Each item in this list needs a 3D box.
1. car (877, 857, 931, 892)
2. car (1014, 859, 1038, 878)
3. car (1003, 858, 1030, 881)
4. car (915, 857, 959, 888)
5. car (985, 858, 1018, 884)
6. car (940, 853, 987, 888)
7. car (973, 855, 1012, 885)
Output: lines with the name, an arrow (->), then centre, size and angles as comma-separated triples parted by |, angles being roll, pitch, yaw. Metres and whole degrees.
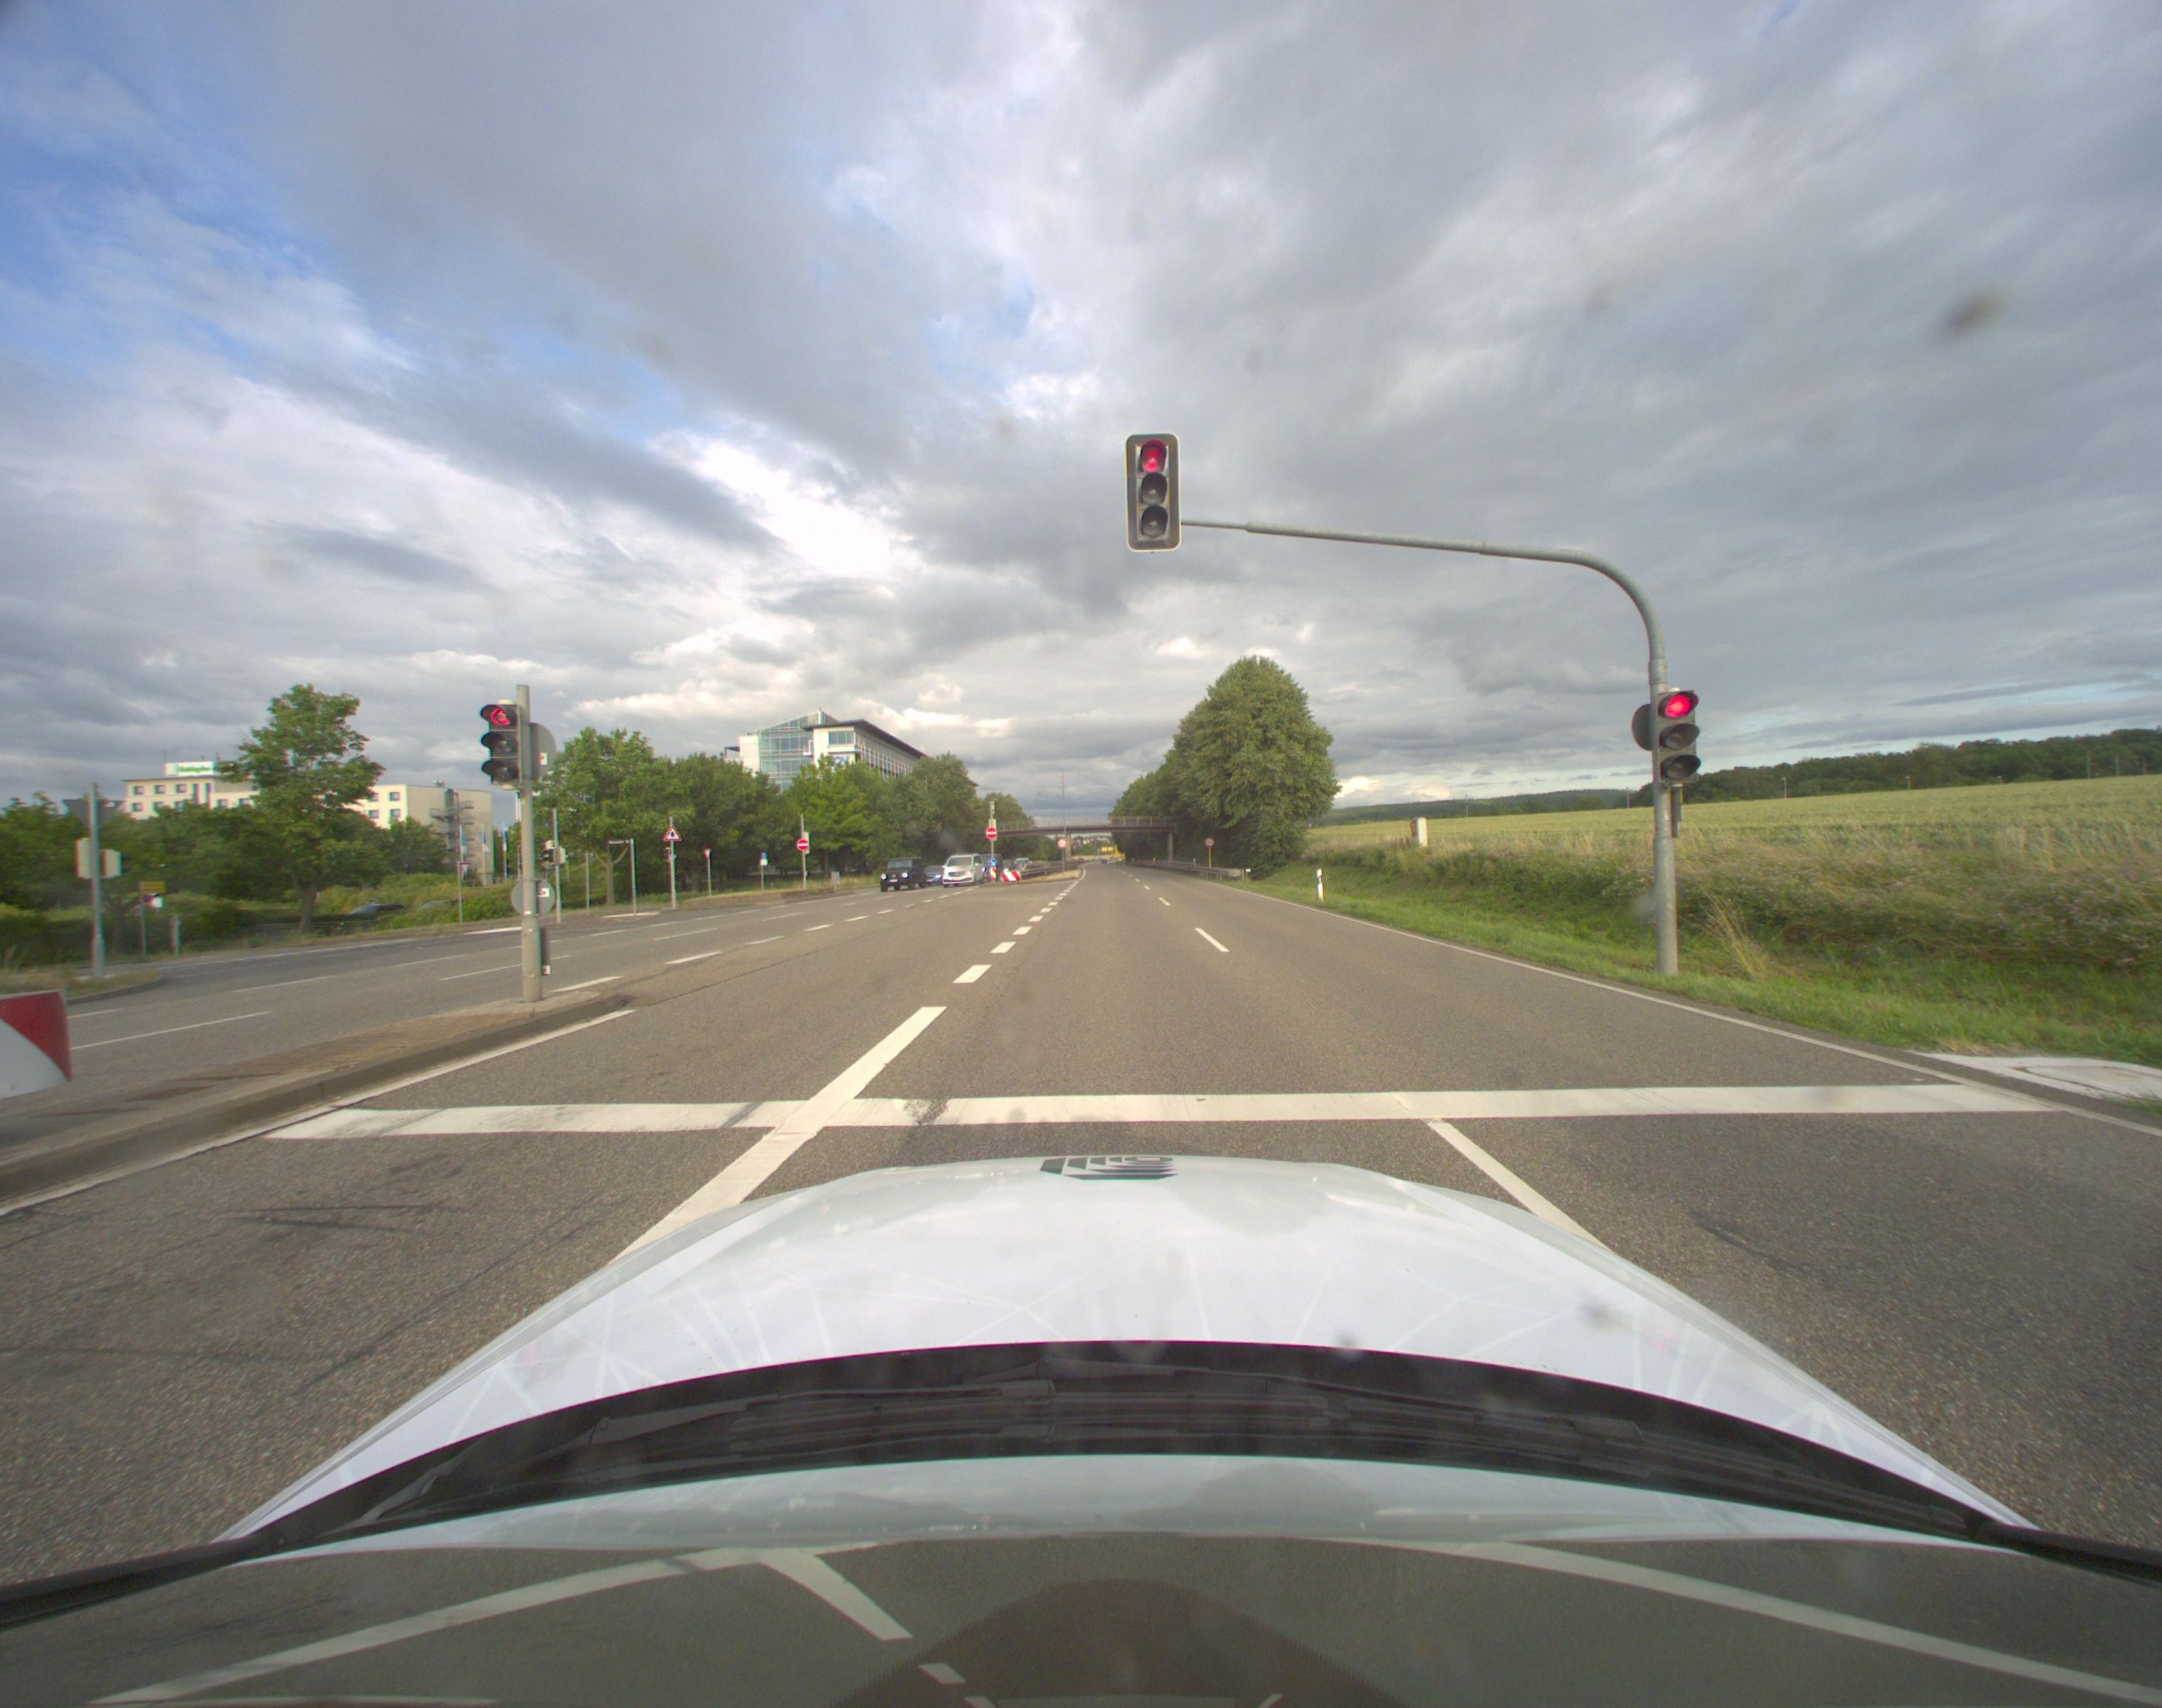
car -> -10.721, 1.194, 49.639 | 2.076, 2.014, 5.216 | 0, -1, 1
car -> -5.755, 1.501, 85.753 | 2.076, 2.014, 5.216 | 0, -1, 1
car -> -5.996, 1.414, 75.935 | 2.076, 2.014, 5.216 | 0, -1, 1
car -> -10.024, 1.259, 57.128 | 2.076, 2.014, 5.216 | 0, -1, 1
car -> -6.265, 1.315, 64.955 | 2.076, 2.014, 5.216 | 0, -1, 1
car -> -7.101, 0.970, 49.665 | 2.076, 2.014, 5.216 | 0, -1, 1
car -> -6.183, 1.079, 57.384 | 2.076, 2.014, 5.216 | 0, -1, 1
